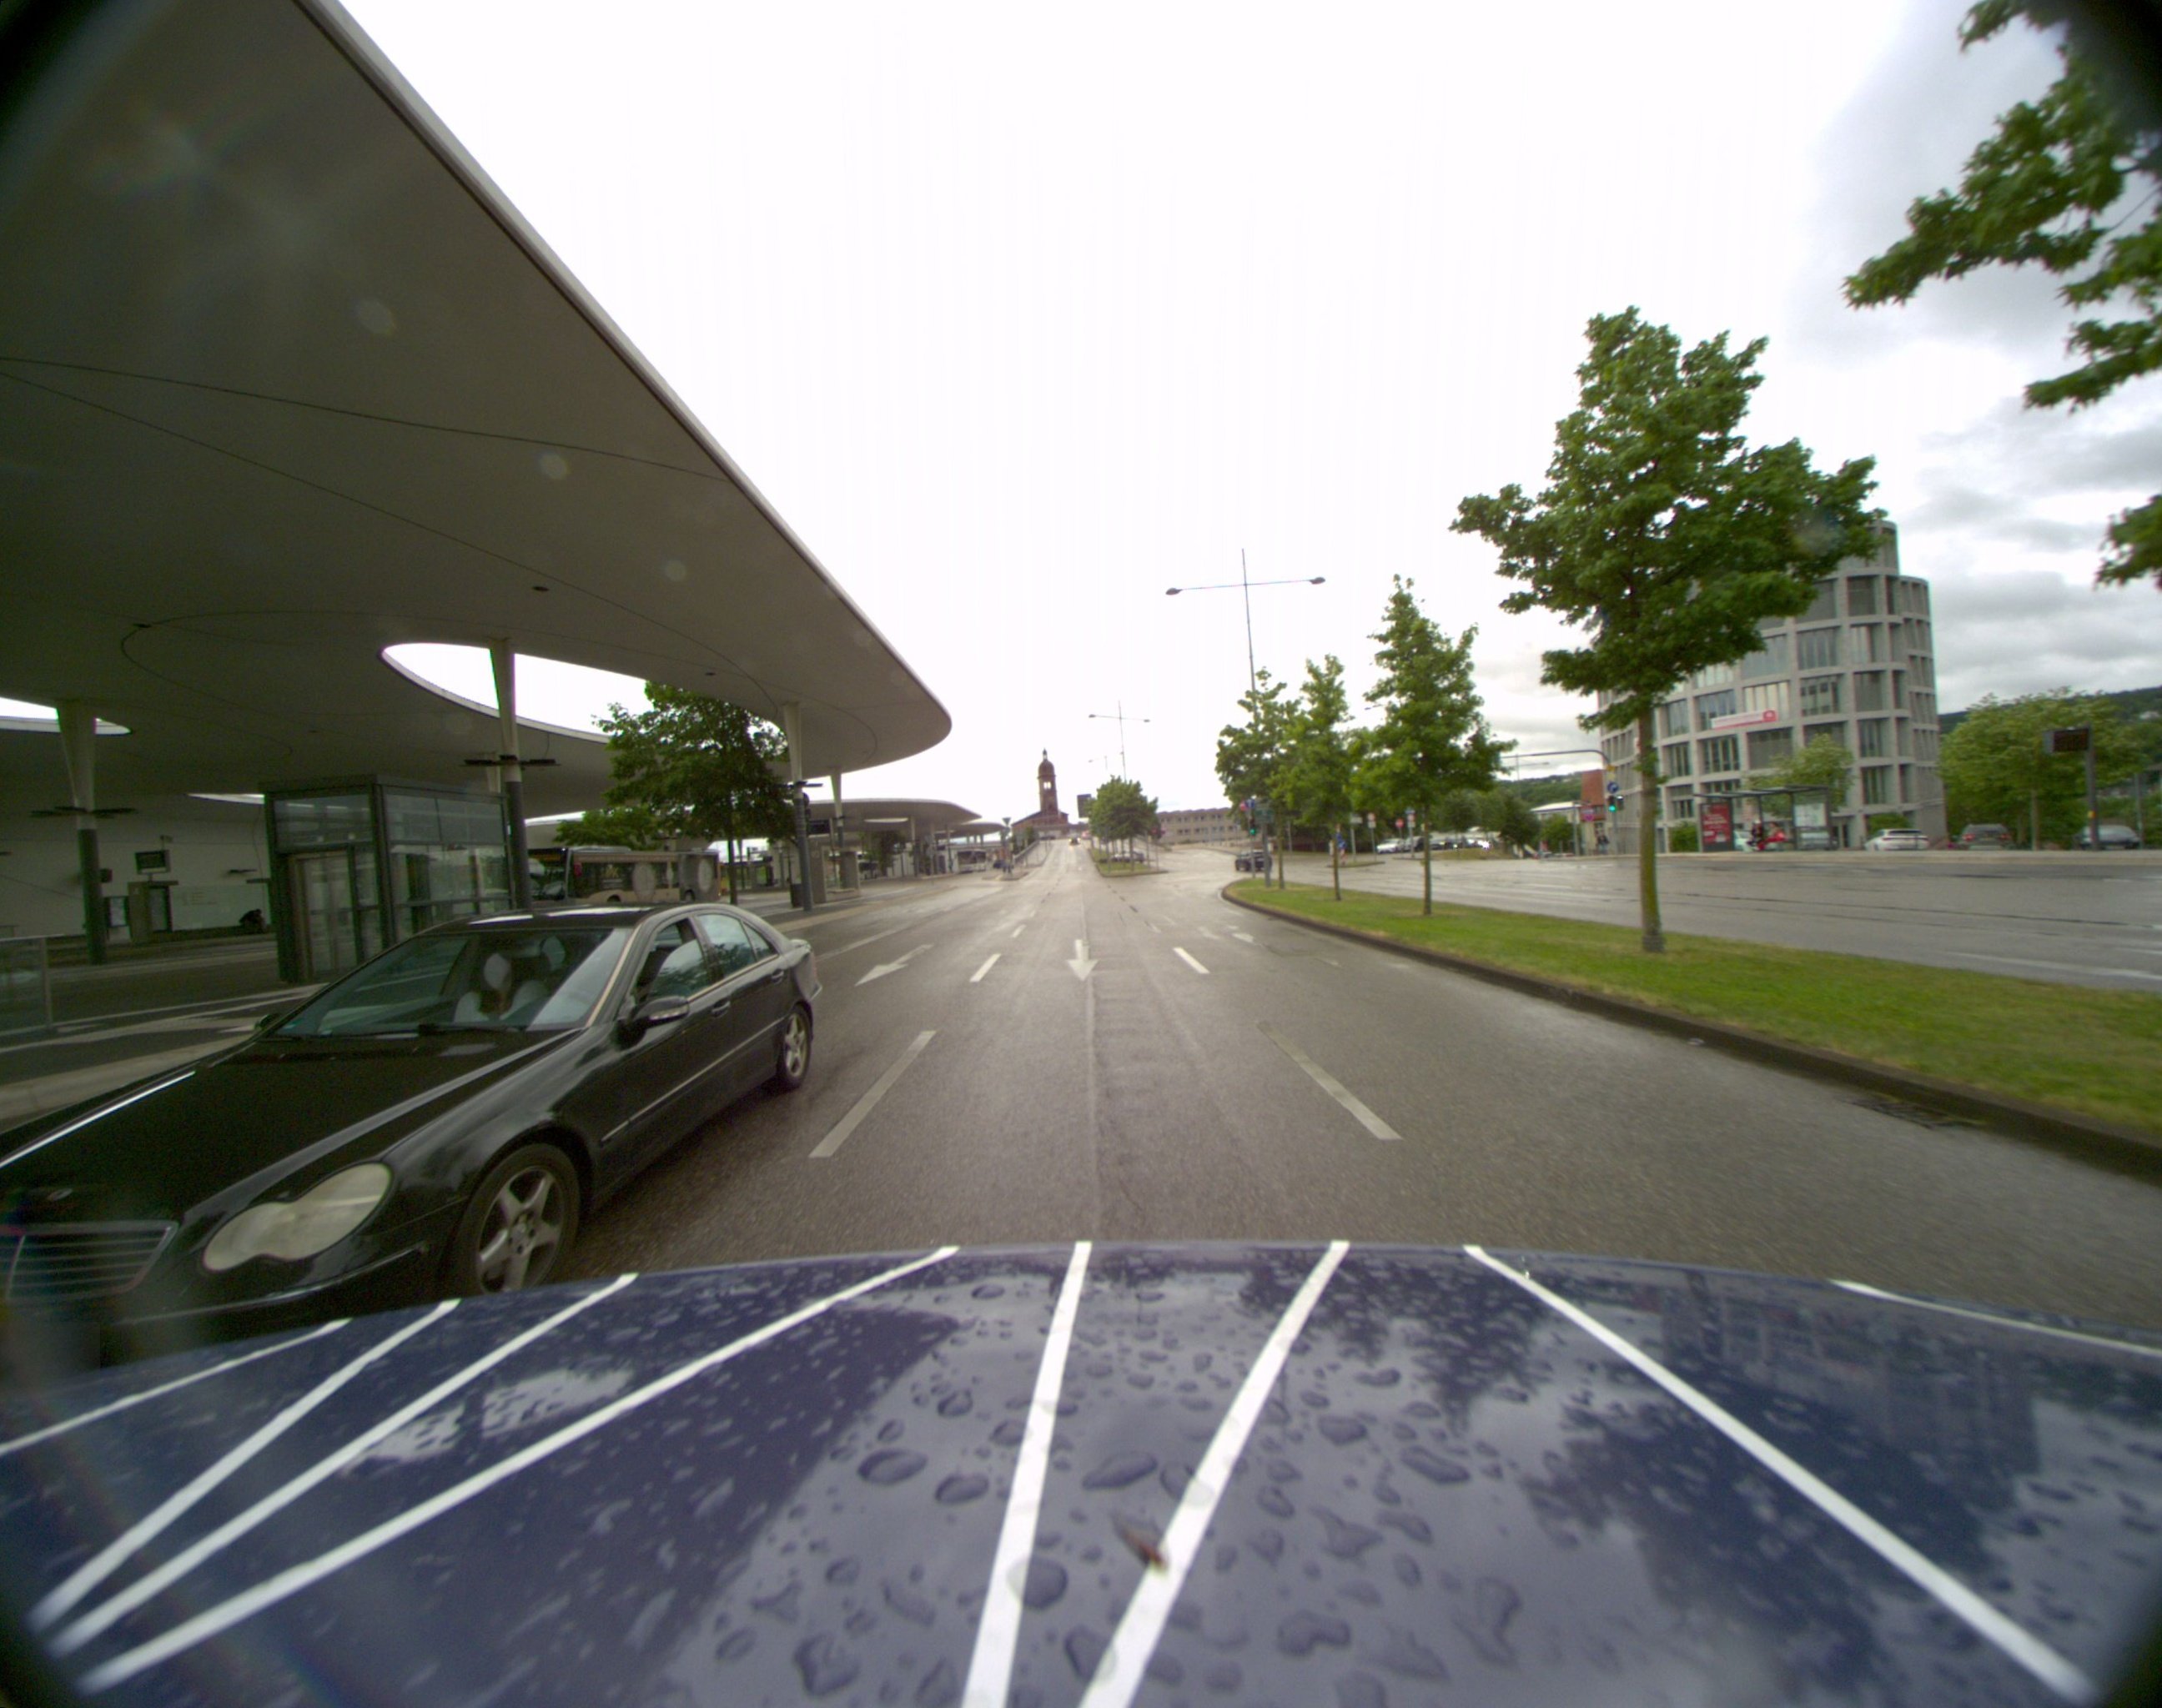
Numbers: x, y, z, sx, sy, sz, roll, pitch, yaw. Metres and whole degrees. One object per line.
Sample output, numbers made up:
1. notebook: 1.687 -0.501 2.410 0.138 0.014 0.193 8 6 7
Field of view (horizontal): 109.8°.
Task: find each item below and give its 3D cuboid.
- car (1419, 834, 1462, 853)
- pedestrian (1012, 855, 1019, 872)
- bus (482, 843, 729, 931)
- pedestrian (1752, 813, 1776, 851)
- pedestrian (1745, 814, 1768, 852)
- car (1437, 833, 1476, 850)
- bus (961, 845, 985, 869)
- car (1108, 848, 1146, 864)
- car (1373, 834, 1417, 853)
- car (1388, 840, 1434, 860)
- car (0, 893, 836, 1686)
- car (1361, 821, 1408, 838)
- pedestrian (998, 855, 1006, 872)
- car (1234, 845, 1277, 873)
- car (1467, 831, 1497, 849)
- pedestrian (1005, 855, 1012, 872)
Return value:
1. car: 37.065 -1.089 78.287 4.926 1.702 2.190 -3 0 -43
2. pedestrian: -6.248 0.875 72.089 0.557 1.614 0.552 -3 1 0
3. bus: -20.031 1.172 33.595 3.003 3.088 12.354 -2 0 0
4. pedestrian: 29.882 -0.941 33.233 0.520 1.625 0.536 -2 1 0
5. pedestrian: 29.325 -0.917 32.998 0.504 1.625 0.502 -2 1 0
6. car: 41.715 -1.438 84.397 4.926 1.702 2.190 -3 0 -43
7. bus: -14.737 0.413 104.093 2.675 3.111 9.712 -3 0 -5
8. car: 4.825 0.212 79.562 3.734 1.450 1.628 -3 0 -3
9. car: 31.959 -1.101 77.317 4.925 1.702 2.190 -3 0 -43
10. car: 31.945 -0.432 73.455 4.926 1.702 2.190 -3 0 -43
11. car: -2.829 1.095 3.854 1.750 1.471 4.434 -3 0 -1
12. car: 39.435 -3.172 98.772 2.315 2.002 5.021 -3 0 -41
13. pedestrian: -7.513 0.917 72.081 0.576 1.614 0.588 -3 1 0
14. car: 11.876 0.325 51.985 1.998 1.765 4.000 -3 0 0
15. car: 46.838 -1.638 88.727 1.994 2.001 4.008 -2 -1 44
16. pedestrian: -6.885 0.899 72.119 0.557 1.614 0.552 -3 1 0
